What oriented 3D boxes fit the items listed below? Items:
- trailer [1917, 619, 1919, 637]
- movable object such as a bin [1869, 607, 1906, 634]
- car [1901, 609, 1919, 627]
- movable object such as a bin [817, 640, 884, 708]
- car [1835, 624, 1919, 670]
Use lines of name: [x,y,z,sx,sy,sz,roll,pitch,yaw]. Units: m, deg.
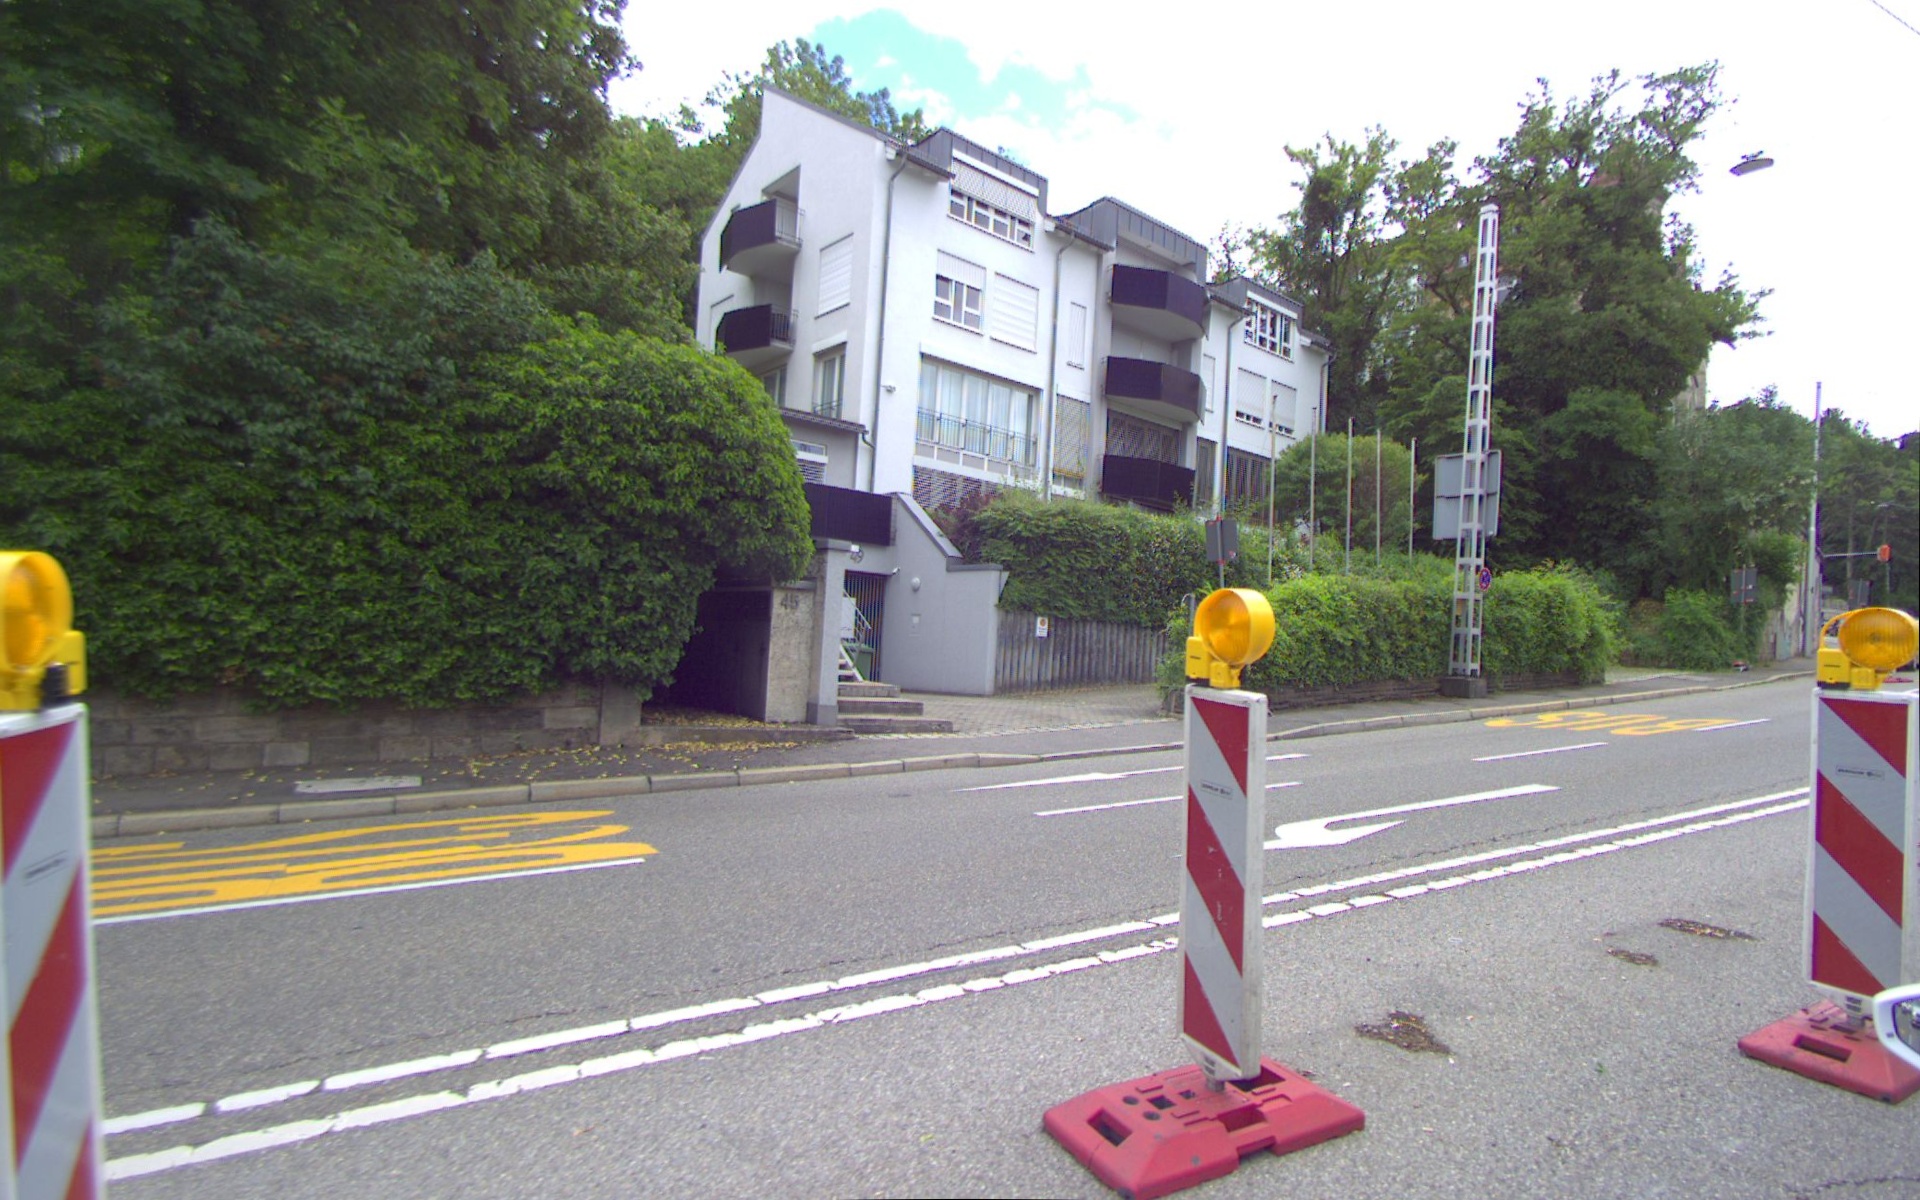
trailer: [82.698,2.400,85.611,1.273,1.495,3.617,3,1,39]
movable object such as a bin: [97.495,2.163,105.570,4.903,2.698,2.193,1,1,-40]
car: [87.833,1.677,92.104,1.771,1.530,3.985,2,0,37]
movable object such as a bin: [-1.879,1.239,17.144,0.793,1.104,1.100,1,-2,-28]
car: [29.996,1.493,32.668,4.355,1.391,1.783,1,-2,-42]
